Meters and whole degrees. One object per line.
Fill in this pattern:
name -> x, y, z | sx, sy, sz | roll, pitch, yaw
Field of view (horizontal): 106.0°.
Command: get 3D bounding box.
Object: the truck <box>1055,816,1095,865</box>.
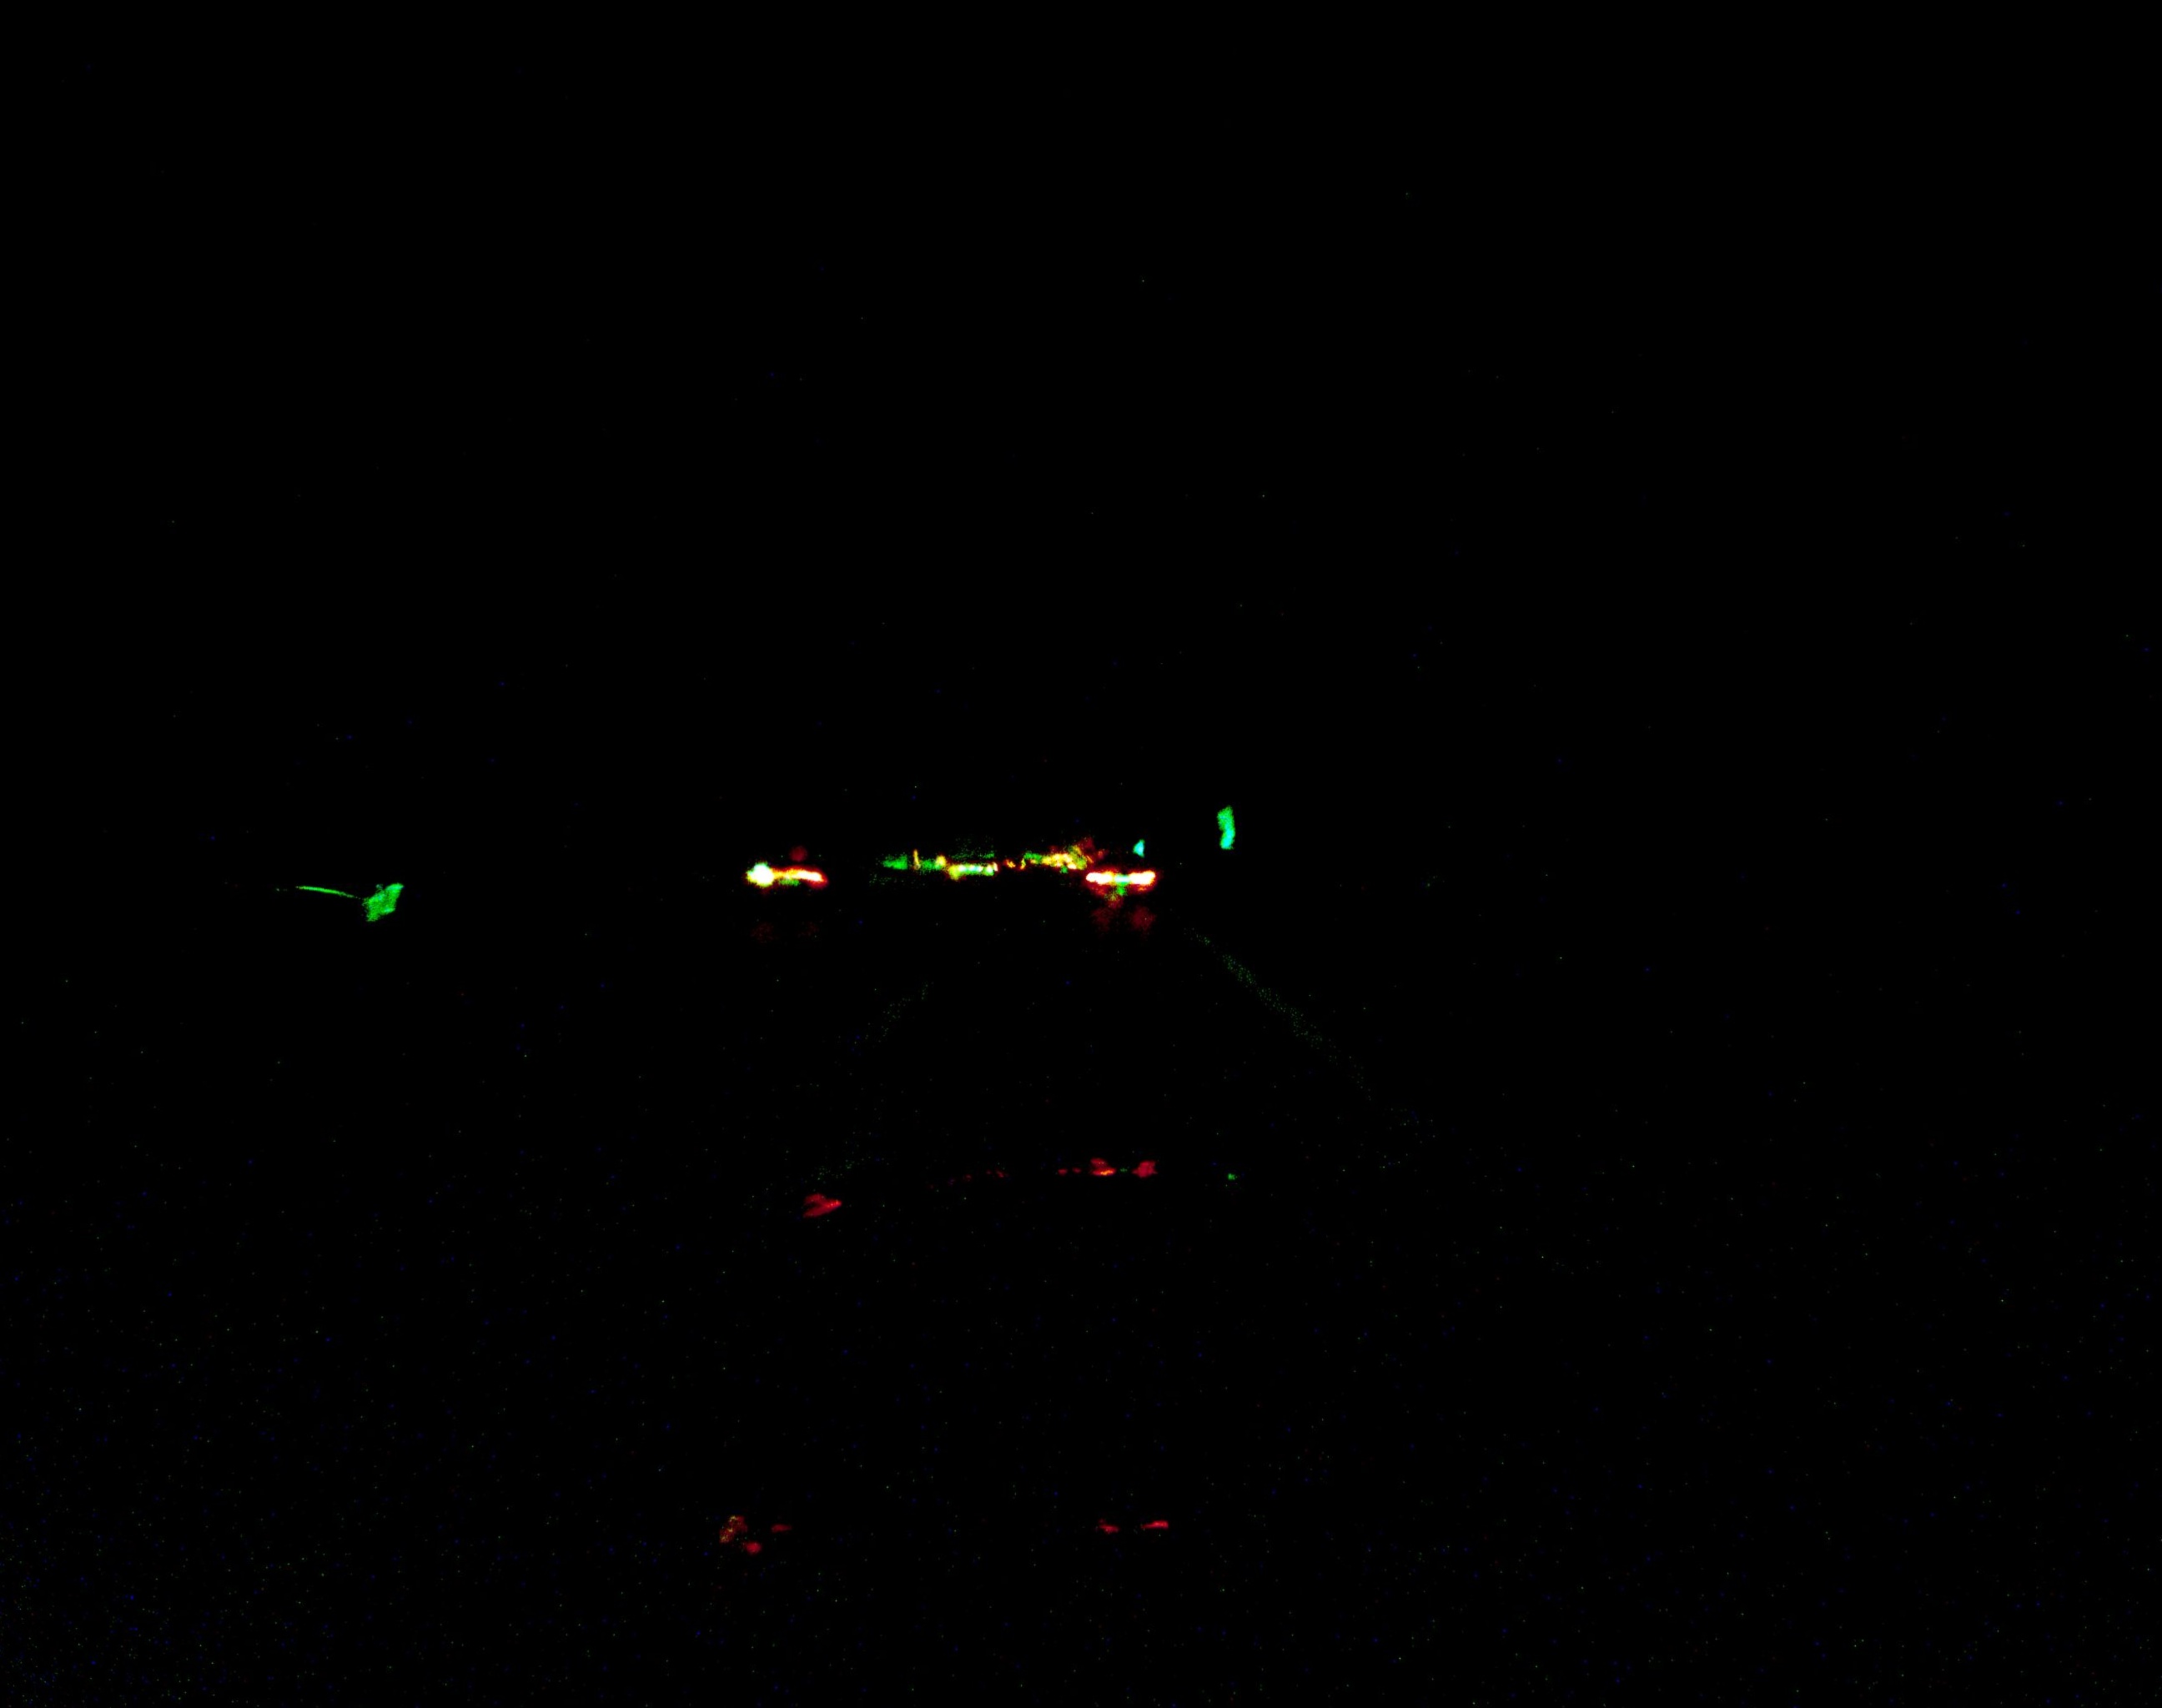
truck -> -0.678, -1.461, 91.290 | 4.149, 5.215, 9.951 | 0, 0, 0

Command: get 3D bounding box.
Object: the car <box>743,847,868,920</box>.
car -> -7.297, 0.710, 22.099 | 2.034, 1.761, 4.511 | 0, 0, -3

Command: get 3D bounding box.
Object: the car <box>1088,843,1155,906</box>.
car -> 1.238, 0.573, 24.888 | 1.870, 1.762, 4.003 | 0, 0, 3

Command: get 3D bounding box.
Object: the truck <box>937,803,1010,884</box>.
truck -> -6.709, -0.623, 52.437 | 3.646, 4.737, 9.845 | 0, 0, -2

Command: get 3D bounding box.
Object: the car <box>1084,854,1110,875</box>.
car -> 1.353, 0.850, 67.505 | 1.986, 1.704, 4.461 | 0, 0, 2

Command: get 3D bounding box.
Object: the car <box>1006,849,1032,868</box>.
car -> -6.681, 0.518, 87.975 | 2.183, 1.980, 5.201 | 0, 0, 3

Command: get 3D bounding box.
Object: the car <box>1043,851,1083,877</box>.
car -> -1.355, 0.754, 65.514 | 2.821, 2.013, 5.514 | 0, 0, 3

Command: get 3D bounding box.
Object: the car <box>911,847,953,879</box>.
car -> -10.484, 0.596, 57.789 | 2.118, 2.104, 5.625 | -1, 0, -2

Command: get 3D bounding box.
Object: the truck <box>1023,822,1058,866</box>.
truck -> -5.139, -1.201, 106.368 | 4.242, 5.444, 10.878 | 0, 0, -1
